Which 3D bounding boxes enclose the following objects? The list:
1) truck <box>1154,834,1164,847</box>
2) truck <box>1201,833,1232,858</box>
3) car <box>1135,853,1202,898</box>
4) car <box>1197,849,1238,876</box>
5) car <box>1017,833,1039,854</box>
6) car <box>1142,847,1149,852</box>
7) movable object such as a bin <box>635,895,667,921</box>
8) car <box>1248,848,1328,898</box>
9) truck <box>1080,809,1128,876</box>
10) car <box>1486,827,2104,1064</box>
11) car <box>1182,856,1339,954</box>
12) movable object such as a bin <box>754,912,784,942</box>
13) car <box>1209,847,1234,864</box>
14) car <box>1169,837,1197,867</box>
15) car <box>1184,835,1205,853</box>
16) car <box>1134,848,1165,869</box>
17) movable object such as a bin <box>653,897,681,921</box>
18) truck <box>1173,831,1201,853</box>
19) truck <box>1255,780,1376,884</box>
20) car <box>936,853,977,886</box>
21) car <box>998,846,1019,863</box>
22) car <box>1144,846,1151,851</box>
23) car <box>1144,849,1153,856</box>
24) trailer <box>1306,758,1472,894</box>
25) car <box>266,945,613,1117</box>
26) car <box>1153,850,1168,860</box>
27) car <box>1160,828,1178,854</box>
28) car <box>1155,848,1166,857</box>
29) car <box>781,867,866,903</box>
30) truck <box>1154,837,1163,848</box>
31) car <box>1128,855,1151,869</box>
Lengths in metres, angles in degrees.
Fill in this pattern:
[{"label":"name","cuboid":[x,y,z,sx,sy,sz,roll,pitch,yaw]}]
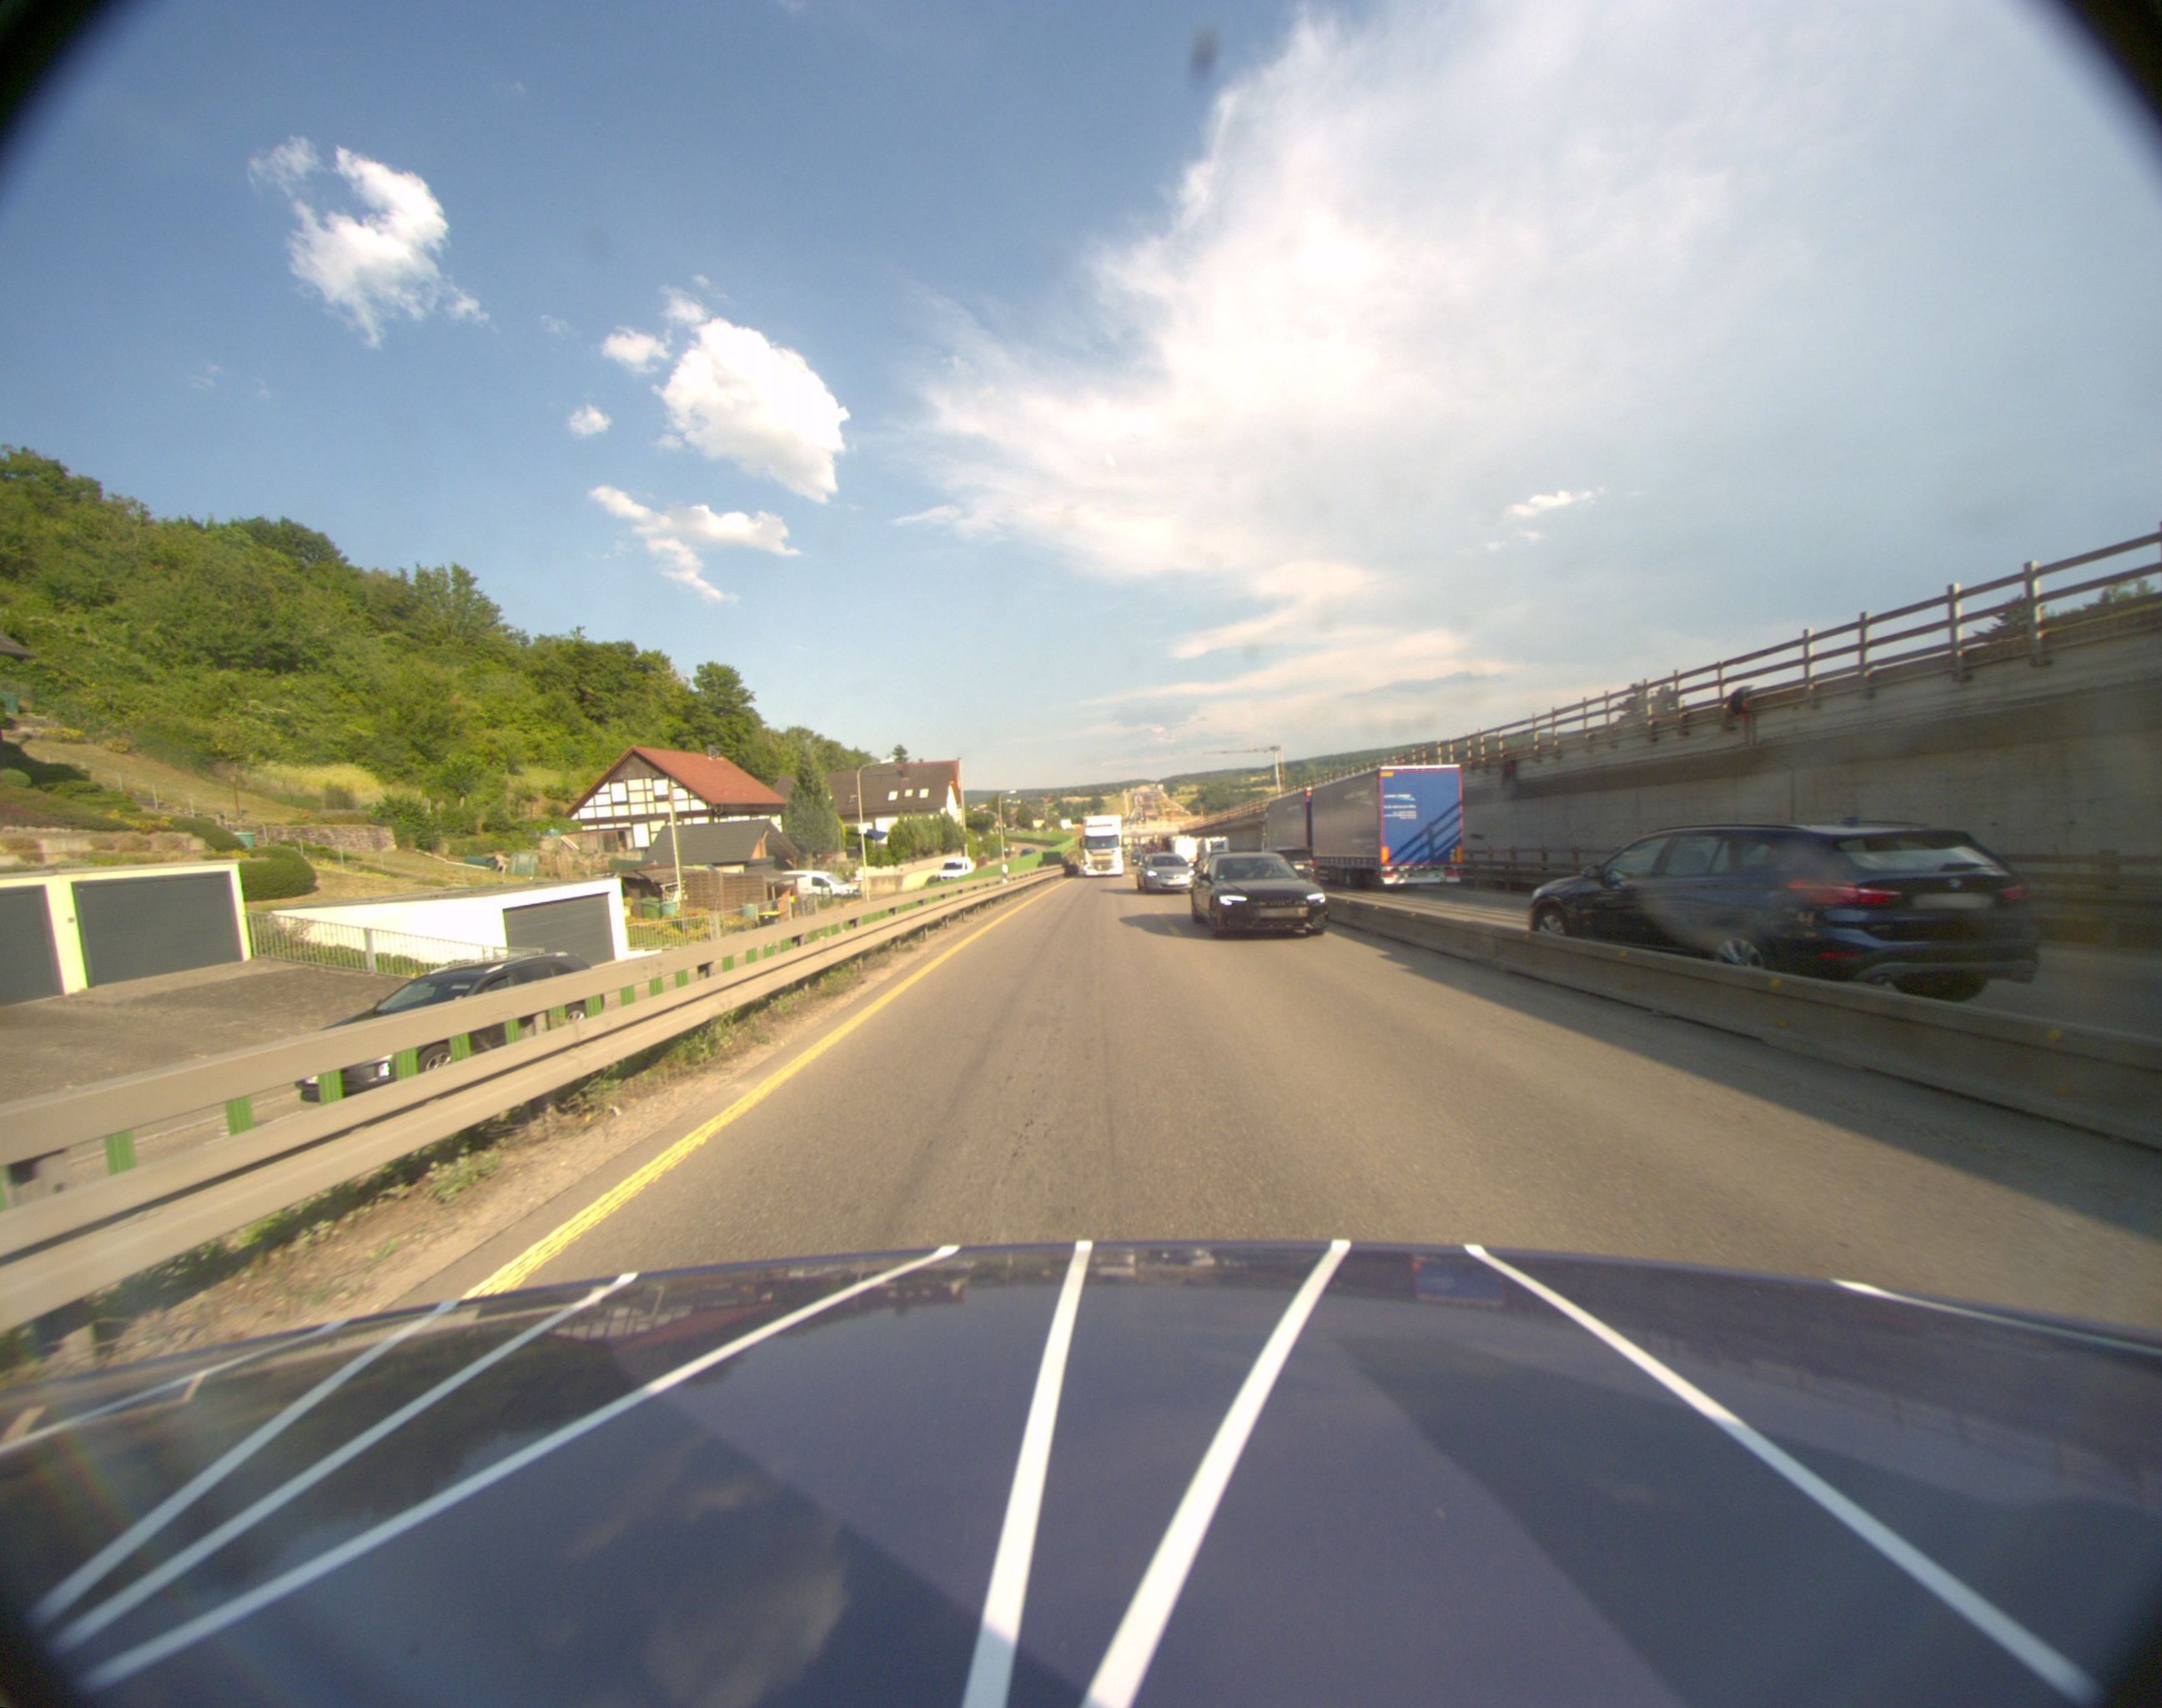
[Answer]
[{"label":"truck","cuboid":[19.846,-3.449,193.412,1.998,3.154,5.763,-1,1,2]},{"label":"truck","cuboid":[13.822,-0.833,77.955,2.279,2.287,6.064,-5,0,3]},{"label":"car","cuboid":[3.121,0.731,27.925,1.810,1.478,4.117,-1,0,-2]},{"label":"car","cuboid":[8.148,0.475,45.762,1.746,1.432,4.592,-3,0,2]},{"label":"car","cuboid":[-5.389,-1.042,77.607,1.999,2.002,3.999,-2,1,-1]},{"label":"car","cuboid":[17.782,-1.264,209.769,1.712,1.312,3.665,-5,0,3]},{"label":"movable object such as a bin","cuboid":[-16.365,2.052,28.955,0.791,0.896,0.680,-2,1,1]},{"label":"car","cuboid":[7.170,0.597,26.736,1.703,1.567,4.369,-1,1,2]},{"label":"truck","cuboid":[1.776,-0.784,54.000,2.892,4.059,13.894,-1,1,3]},{"label":"car","cuboid":[6.442,0.629,7.866,1.885,1.597,4.730,-4,1,0]},{"label":"car","cuboid":[3.160,0.807,14.508,1.945,1.471,5.222,-1,0,2]},{"label":"movable object such as a bin","cuboid":[-11.390,2.655,27.794,0.723,0.995,0.677,-4,1,2]},{"label":"car","cuboid":[12.492,0.107,67.609,1.712,1.379,4.001,-5,0,5]},{"label":"car","cuboid":[9.204,-0.171,69.186,2.001,2.601,5.614,-1,0,2]},{"label":"car","cuboid":[14.596,-1.285,97.841,2.214,2.011,3.973,-5,0,3]},{"label":"car","cuboid":[5.225,0.349,58.346,1.823,1.432,3.999,-3,0,-2]},{"label":"movable object such as a bin","cuboid":[-16.472,2.179,30.231,0.688,0.896,0.680,-2,1,1]},{"label":"truck","cuboid":[15.457,-1.752,111.426,3.242,3.127,6.489,-1,1,1]},{"label":"truck","cuboid":[10.966,-0.977,36.828,2.822,4.234,10.581,-1,1,2]},{"label":"car","cuboid":[-8.398,0.998,51.490,1.824,1.931,4.283,-3,2,2]},{"label":"car","cuboid":[-8.727,0.039,91.550,1.998,2.002,4.000,-1,1,2]},{"label":"car","cuboid":[17.369,-1.462,199.113,1.712,1.312,3.665,-5,0,3]},{"label":"car","cuboid":[14.811,-0.294,166.840,1.712,1.312,3.665,-5,0,3]},{"label":"trailer","cuboid":[10.644,-0.906,27.385,2.822,4.081,8.287,-1,1,2]},{"label":"car","cuboid":[-10.709,2.851,13.276,1.866,1.775,4.498,-2,3,6]},{"label":"car","cuboid":[11.181,0.109,107.171,1.712,1.312,3.665,-5,0,3]},{"label":"car","cuboid":[19.631,-2.837,169.687,3.327,5.356,14.301,-1,1,4]},{"label":"car","cuboid":[13.793,-0.249,132.107,1.712,1.312,3.665,-5,0,3]},{"label":"car","cuboid":[-13.922,1.658,41.237,3.996,1.829,1.750,0,2,3]},{"label":"truck","cuboid":[22.391,-3.283,219.662,1.998,3.154,5.763,-1,1,2]},{"label":"car","cuboid":[7.081,0.981,92.057,2.000,1.565,3.997,-2,1,-6]}]
